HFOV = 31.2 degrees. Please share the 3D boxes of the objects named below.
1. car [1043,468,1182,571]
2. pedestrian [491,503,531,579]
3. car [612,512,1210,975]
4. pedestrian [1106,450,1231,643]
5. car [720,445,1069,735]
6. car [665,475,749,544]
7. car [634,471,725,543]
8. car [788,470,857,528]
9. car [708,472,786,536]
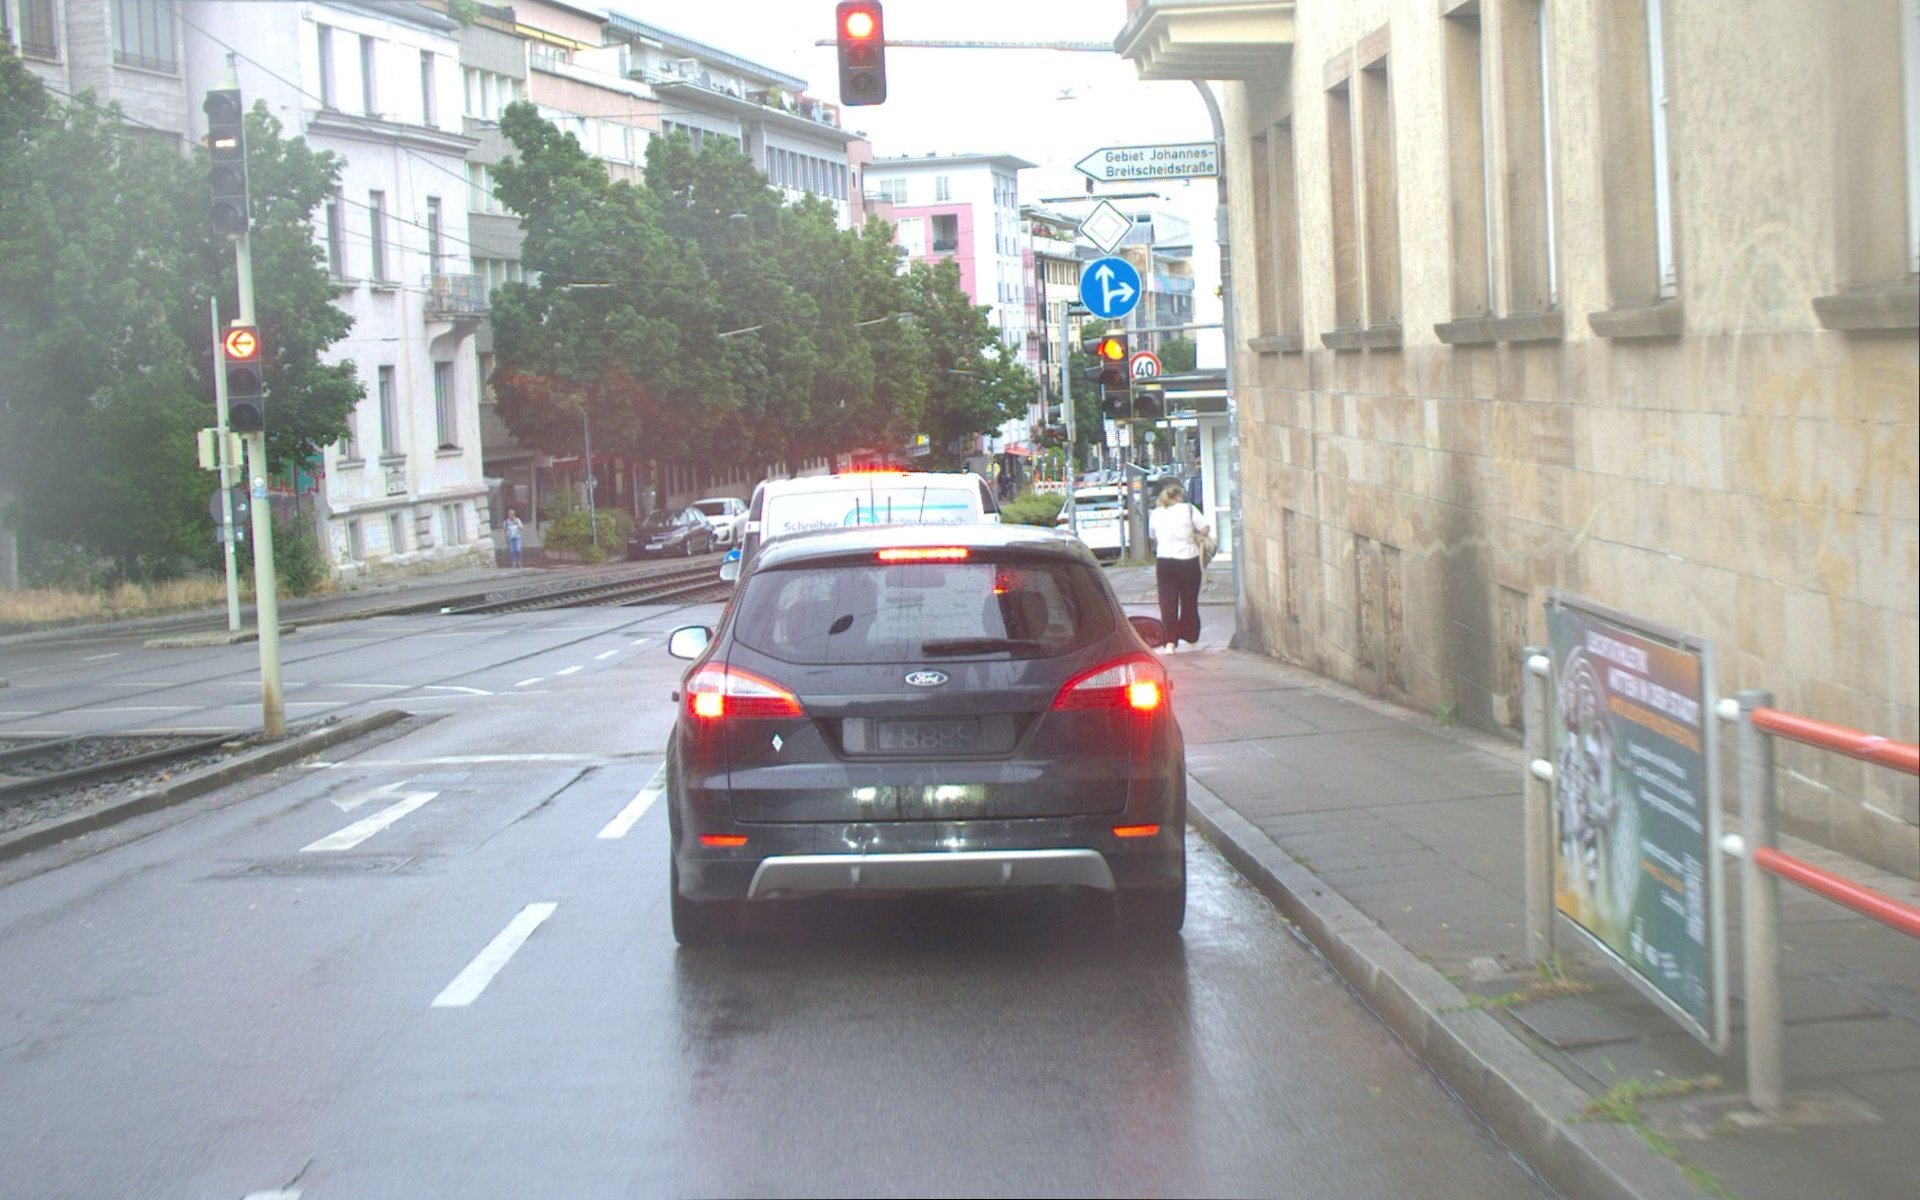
[{"bbox_3d":[2.854,-1.501,63.486,1.994,1.766,3.999,-2,1,10],"label":"car"},{"bbox_3d":[-12.123,-1.586,92.870,0.941,2.007,0.765,-3,1,-10],"label":"pedestrian"},{"bbox_3d":[-0.072,0.416,13.099,1.920,1.474,4.000,0,2,3],"label":"car"},{"bbox_3d":[2.002,-0.516,33.121,1.045,1.789,0.902,-3,1,-2],"label":"pedestrian"},{"bbox_3d":[-0.450,-0.123,24.124,2.137,1.739,4.219,-3,2,-1],"label":"car"},{"bbox_3d":[-7.890,-2.833,107.497,1.994,2.007,4.000,-2,1,4],"label":"car"},{"bbox_3d":[-8.235,-2.742,101.201,1.994,2.007,4.000,-2,1,4],"label":"car"},{"bbox_3d":[-4.981,-3.670,125.187,1.994,2.007,4.000,-2,1,4],"label":"car"},{"bbox_3d":[-7.035,-3.174,113.828,1.994,2.007,4.000,-2,1,4],"label":"car"}]
